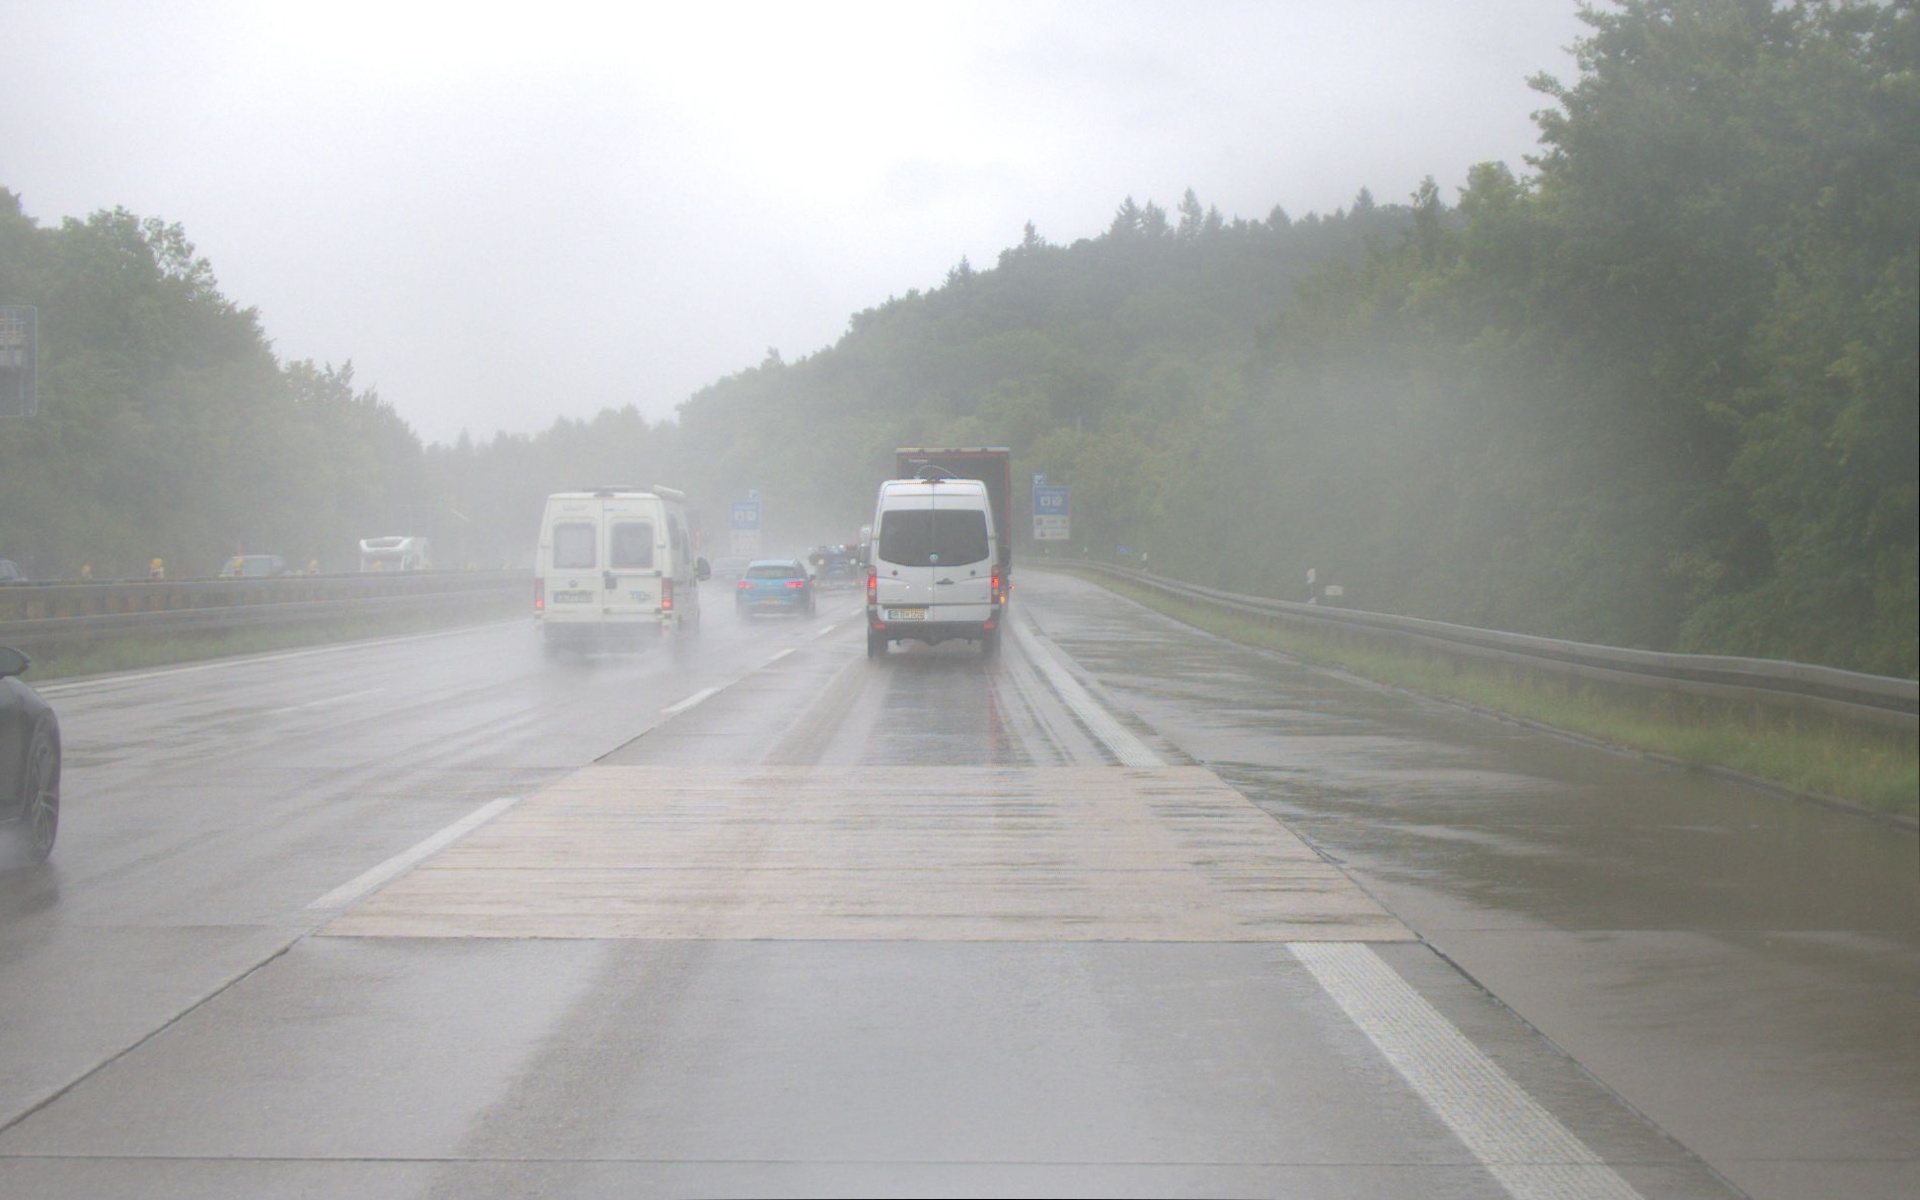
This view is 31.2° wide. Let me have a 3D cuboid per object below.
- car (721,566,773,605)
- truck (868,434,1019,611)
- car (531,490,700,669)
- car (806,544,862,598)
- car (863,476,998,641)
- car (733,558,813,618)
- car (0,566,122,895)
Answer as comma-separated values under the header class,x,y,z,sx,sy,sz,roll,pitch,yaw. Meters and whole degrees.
class,x,y,z,sx,sy,sz,roll,pitch,yaw
car,-7.764,-0.547,125.562,1.856,1.334,4.352,1,1,-3
truck,-0.419,-1.948,81.813,3.385,3.954,8.668,0,3,-1
car,-4.978,-0.325,50.321,1.997,2.423,5.791,1,1,-2
car,-4.366,-1.009,119.542,1.868,1.804,4.189,1,1,-2
car,-0.494,-0.632,51.997,1.899,2.326,5.251,1,1,-2
car,-4.524,-0.307,82.949,1.856,1.334,4.352,1,1,-4
car,-4.921,0.564,14.653,1.740,1.383,4.322,-1,0,-2
